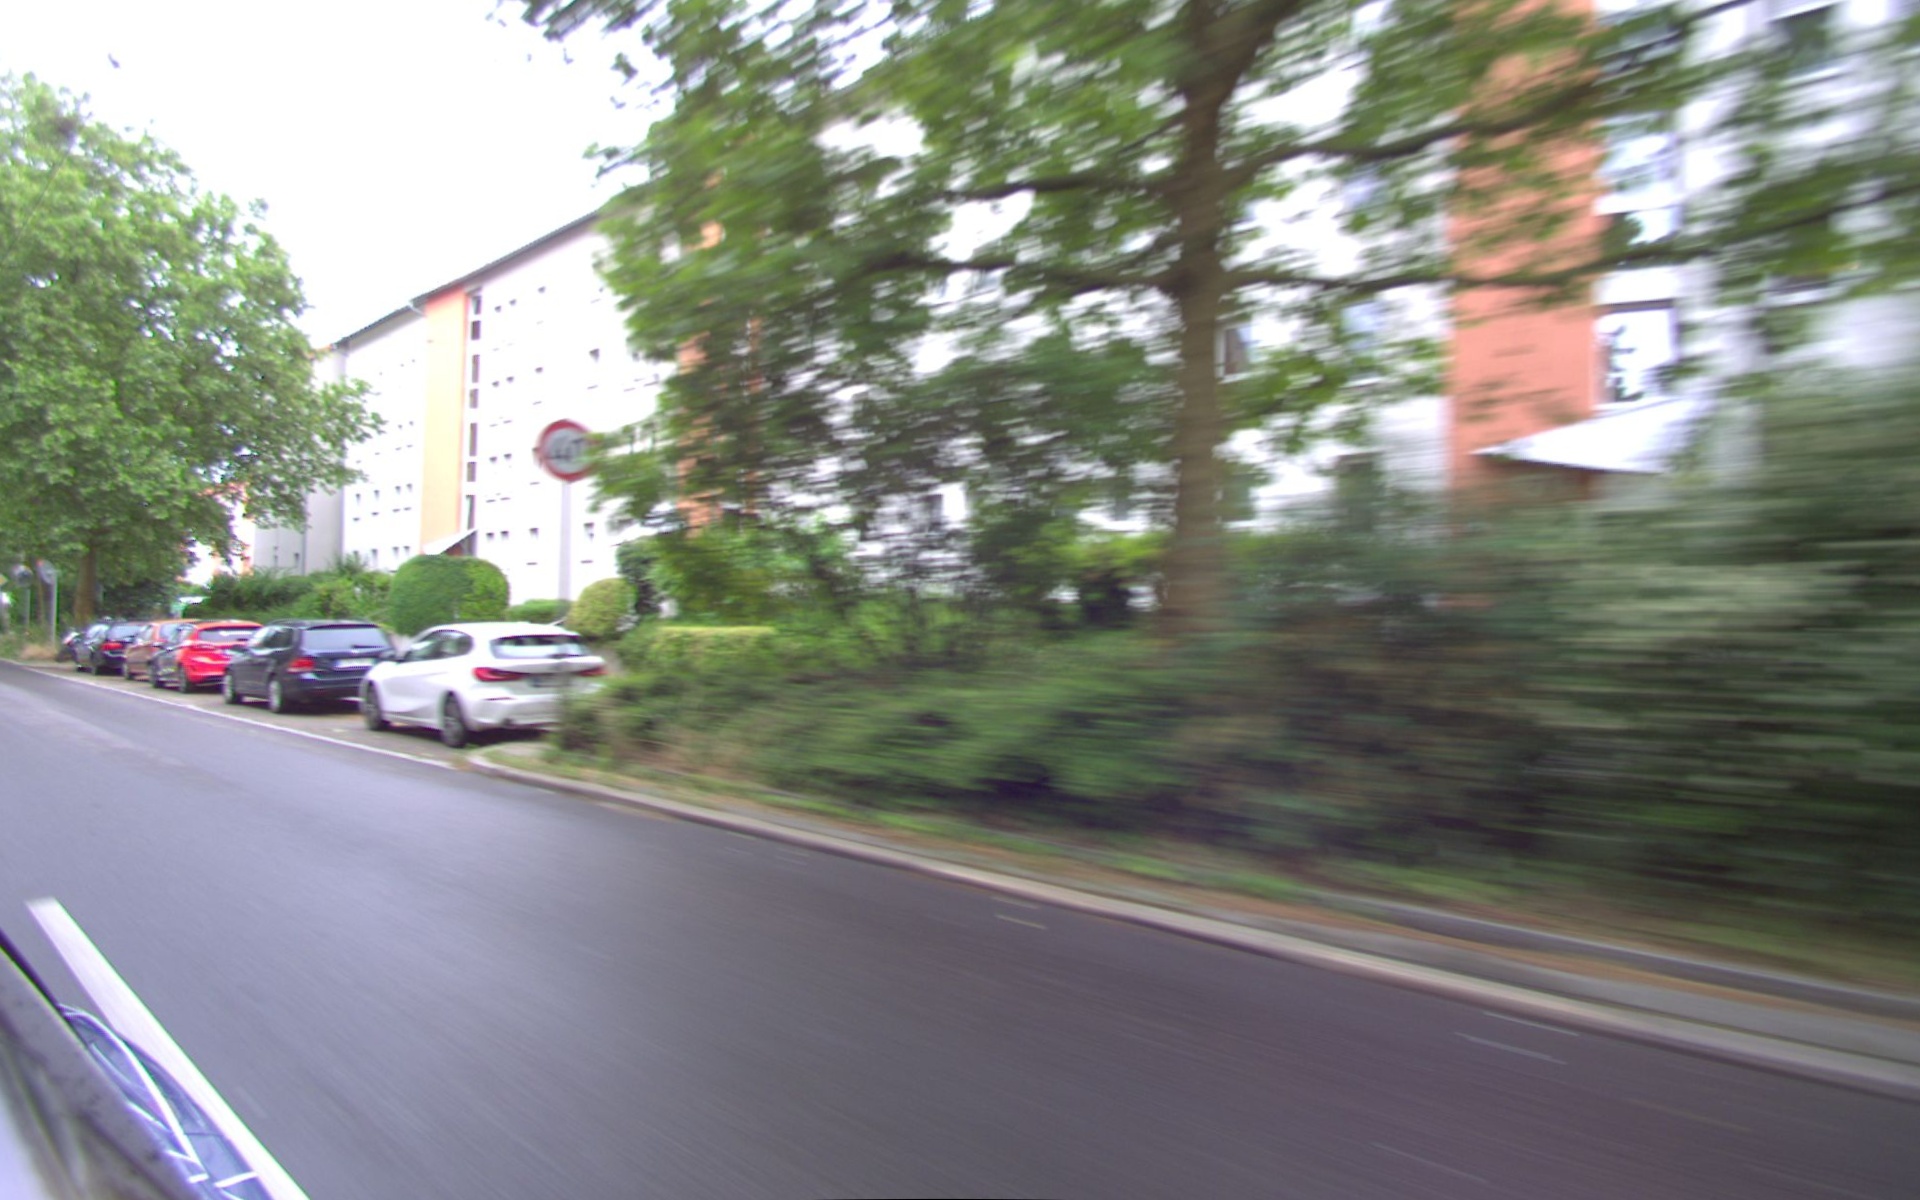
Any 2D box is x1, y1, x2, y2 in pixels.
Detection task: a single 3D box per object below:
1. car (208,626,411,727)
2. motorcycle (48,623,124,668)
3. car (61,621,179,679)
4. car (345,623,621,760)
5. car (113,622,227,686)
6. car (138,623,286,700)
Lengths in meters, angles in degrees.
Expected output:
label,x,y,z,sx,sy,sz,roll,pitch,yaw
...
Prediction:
label,x,y,z,sx,sy,sz,roll,pitch,yaw
car,-11.043,1.189,17.078,4.230,1.479,1.699,-1,-2,40
motorcycle,-27.612,1.443,32.002,0.722,1.350,1.695,-1,-3,41
car,-23.827,1.358,28.631,4.800,1.521,1.699,-1,-2,40
car,-6.260,1.036,13.061,4.308,1.479,1.698,-1,-2,42
car,-19.653,1.293,25.140,3.394,1.479,1.540,-1,-2,40
car,-15.938,1.236,21.516,3.752,1.479,1.699,-1,-2,40
